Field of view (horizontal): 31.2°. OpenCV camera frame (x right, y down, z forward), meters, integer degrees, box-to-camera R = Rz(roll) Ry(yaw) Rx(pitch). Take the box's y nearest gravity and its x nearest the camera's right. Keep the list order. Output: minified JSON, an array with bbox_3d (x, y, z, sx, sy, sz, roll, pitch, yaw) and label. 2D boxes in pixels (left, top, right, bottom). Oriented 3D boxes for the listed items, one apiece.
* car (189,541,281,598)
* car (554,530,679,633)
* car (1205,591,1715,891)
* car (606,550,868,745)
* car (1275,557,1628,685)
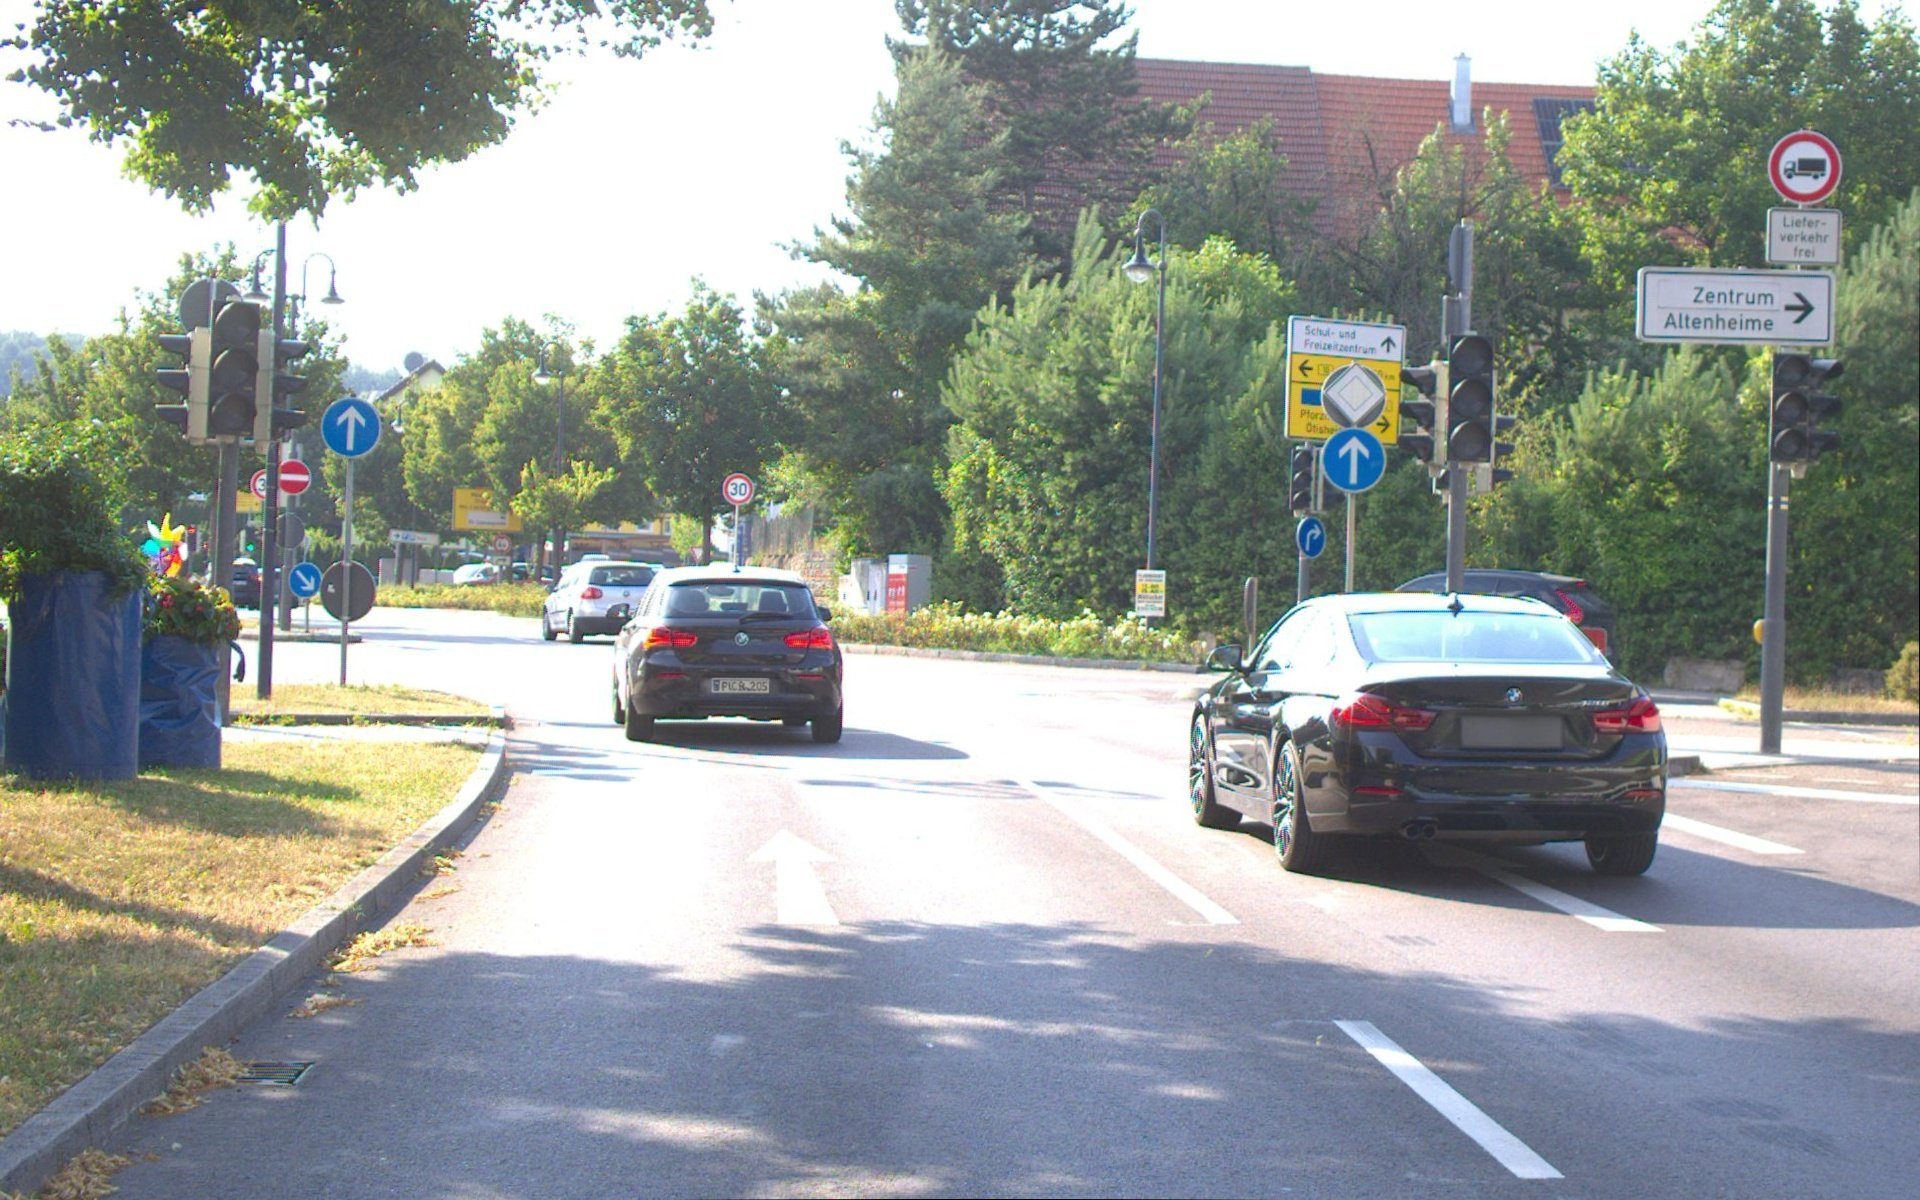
[{"bbox_3d":[-23.402,-0.992,110.895,2.216,1.763,4.455,1,0,-21],"label":"car"},{"bbox_3d":[-6.274,-0.345,62.416,1.924,1.763,4.455,1,0,-10],"label":"car"},{"bbox_3d":[2.474,0.650,18.099,1.920,1.359,4.353,1,0,-2],"label":"car"},{"bbox_3d":[-1.813,0.361,29.191,1.721,1.485,4.352,2,0,2],"label":"car"},{"bbox_3d":[6.523,0.261,45.783,4.265,1.561,1.789,2,1,32],"label":"car"}]
